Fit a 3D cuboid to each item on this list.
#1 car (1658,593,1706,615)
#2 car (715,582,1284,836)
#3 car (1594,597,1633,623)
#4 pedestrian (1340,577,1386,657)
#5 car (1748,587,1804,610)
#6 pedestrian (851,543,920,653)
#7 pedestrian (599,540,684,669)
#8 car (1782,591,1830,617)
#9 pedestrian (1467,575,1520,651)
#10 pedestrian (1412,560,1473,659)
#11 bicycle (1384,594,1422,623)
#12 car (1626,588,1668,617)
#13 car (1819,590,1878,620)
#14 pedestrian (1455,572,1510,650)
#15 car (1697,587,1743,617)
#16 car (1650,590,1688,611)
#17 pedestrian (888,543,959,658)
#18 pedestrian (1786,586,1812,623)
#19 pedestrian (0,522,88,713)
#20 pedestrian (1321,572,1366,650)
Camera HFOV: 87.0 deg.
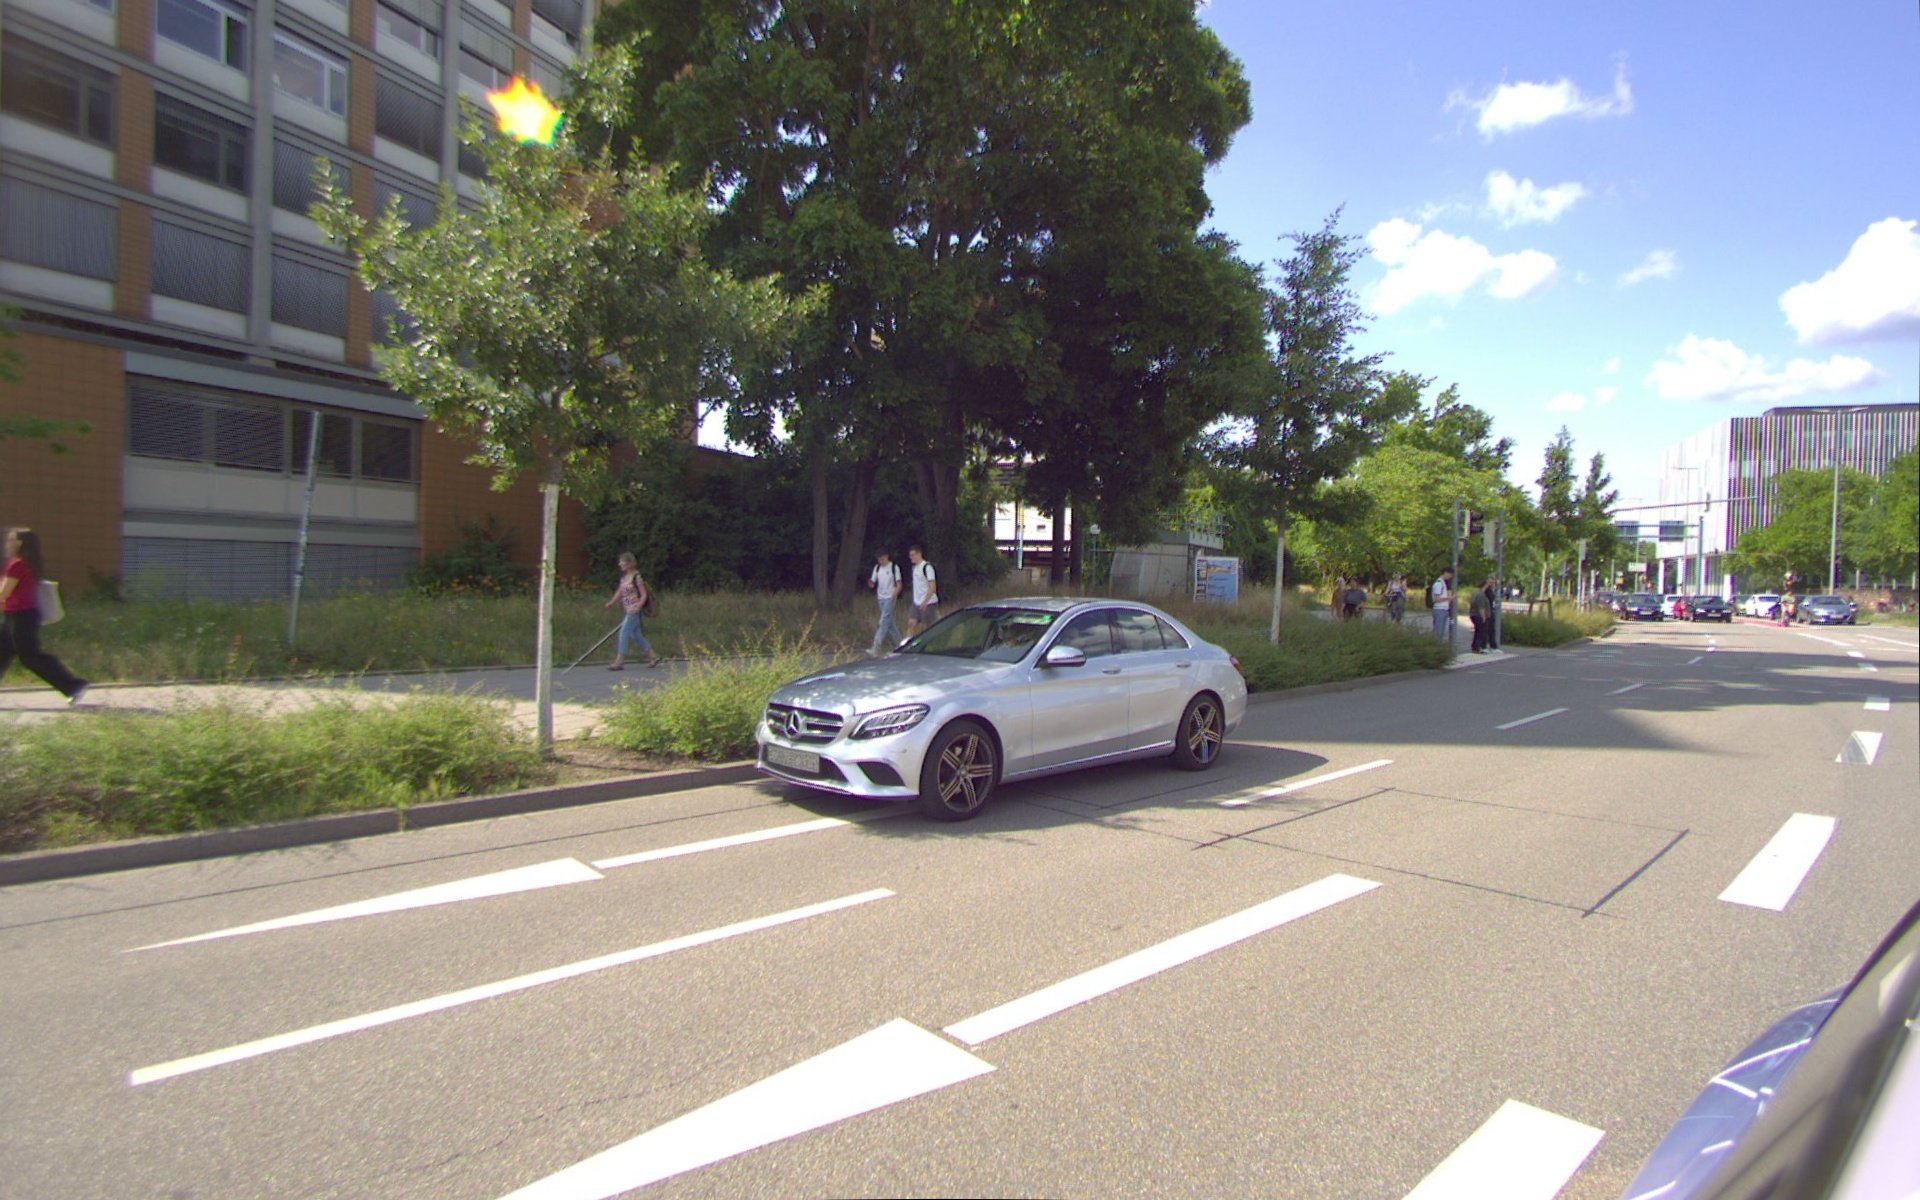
[{"bbox_3d":[41.413,0.192,58.104,1.582,1.148,3.597,1,1,25],"label":"car"},{"bbox_3d":[0.572,0.613,8.255,4.679,1.473,1.932,0,1,-43],"label":"car"},{"bbox_3d":[39.208,0.565,60.719,1.815,1.481,3.950,1,1,35],"label":"car"},{"bbox_3d":[9.000,0.368,22.625,0.765,1.757,0.708,0,0,41],"label":"pedestrian"},{"bbox_3d":[50.518,-0.110,62.735,1.761,1.371,3.966,0,1,25],"label":"car"},{"bbox_3d":[-1.211,-0.047,16.510,0.614,1.720,0.876,5,4,44],"label":"pedestrian"},{"bbox_3d":[-4.243,0.041,13.495,0.614,1.642,0.876,5,4,44],"label":"pedestrian"},{"bbox_3d":[47.055,0.198,56.345,1.722,1.351,3.742,0,1,35],"label":"car"},{"bbox_3d":[12.638,0.300,23.987,0.755,1.757,0.926,0,0,-43],"label":"pedestrian"},{"bbox_3d":[10.314,0.191,21.626,0.755,2.039,0.963,0,0,-43],"label":"pedestrian"},{"bbox_3d":[14.507,0.260,33.141,0.646,0.892,1.796,2,1,40],"label":"bicycle"},{"bbox_3d":[36.691,0.103,54.061,1.815,1.481,3.951,1,1,34],"label":"car"},{"bbox_3d":[43.773,0.193,49.941,1.990,1.393,4.210,1,1,39],"label":"car"},{"bbox_3d":[12.101,0.244,23.441,0.755,1.757,0.926,0,0,-43],"label":"pedestrian"},{"bbox_3d":[39.793,0.060,53.058,1.815,1.481,3.949,1,1,35],"label":"car"},{"bbox_3d":[44.723,-0.018,63.830,1.898,1.148,4.052,1,3,35],"label":"car"},{"bbox_3d":[-0.571,-0.006,15.894,0.614,1.720,0.876,5,4,44],"label":"pedestrian"},{"bbox_3d":[39.382,0.199,47.516,0.731,1.736,0.868,0,0,27],"label":"pedestrian"},{"bbox_3d":[-8.378,0.135,9.052,0.874,1.642,0.615,0,4,-41],"label":"pedestrian"},{"bbox_3d":[8.905,0.248,23.490,0.765,1.757,0.708,0,0,41],"label":"pedestrian"}]
